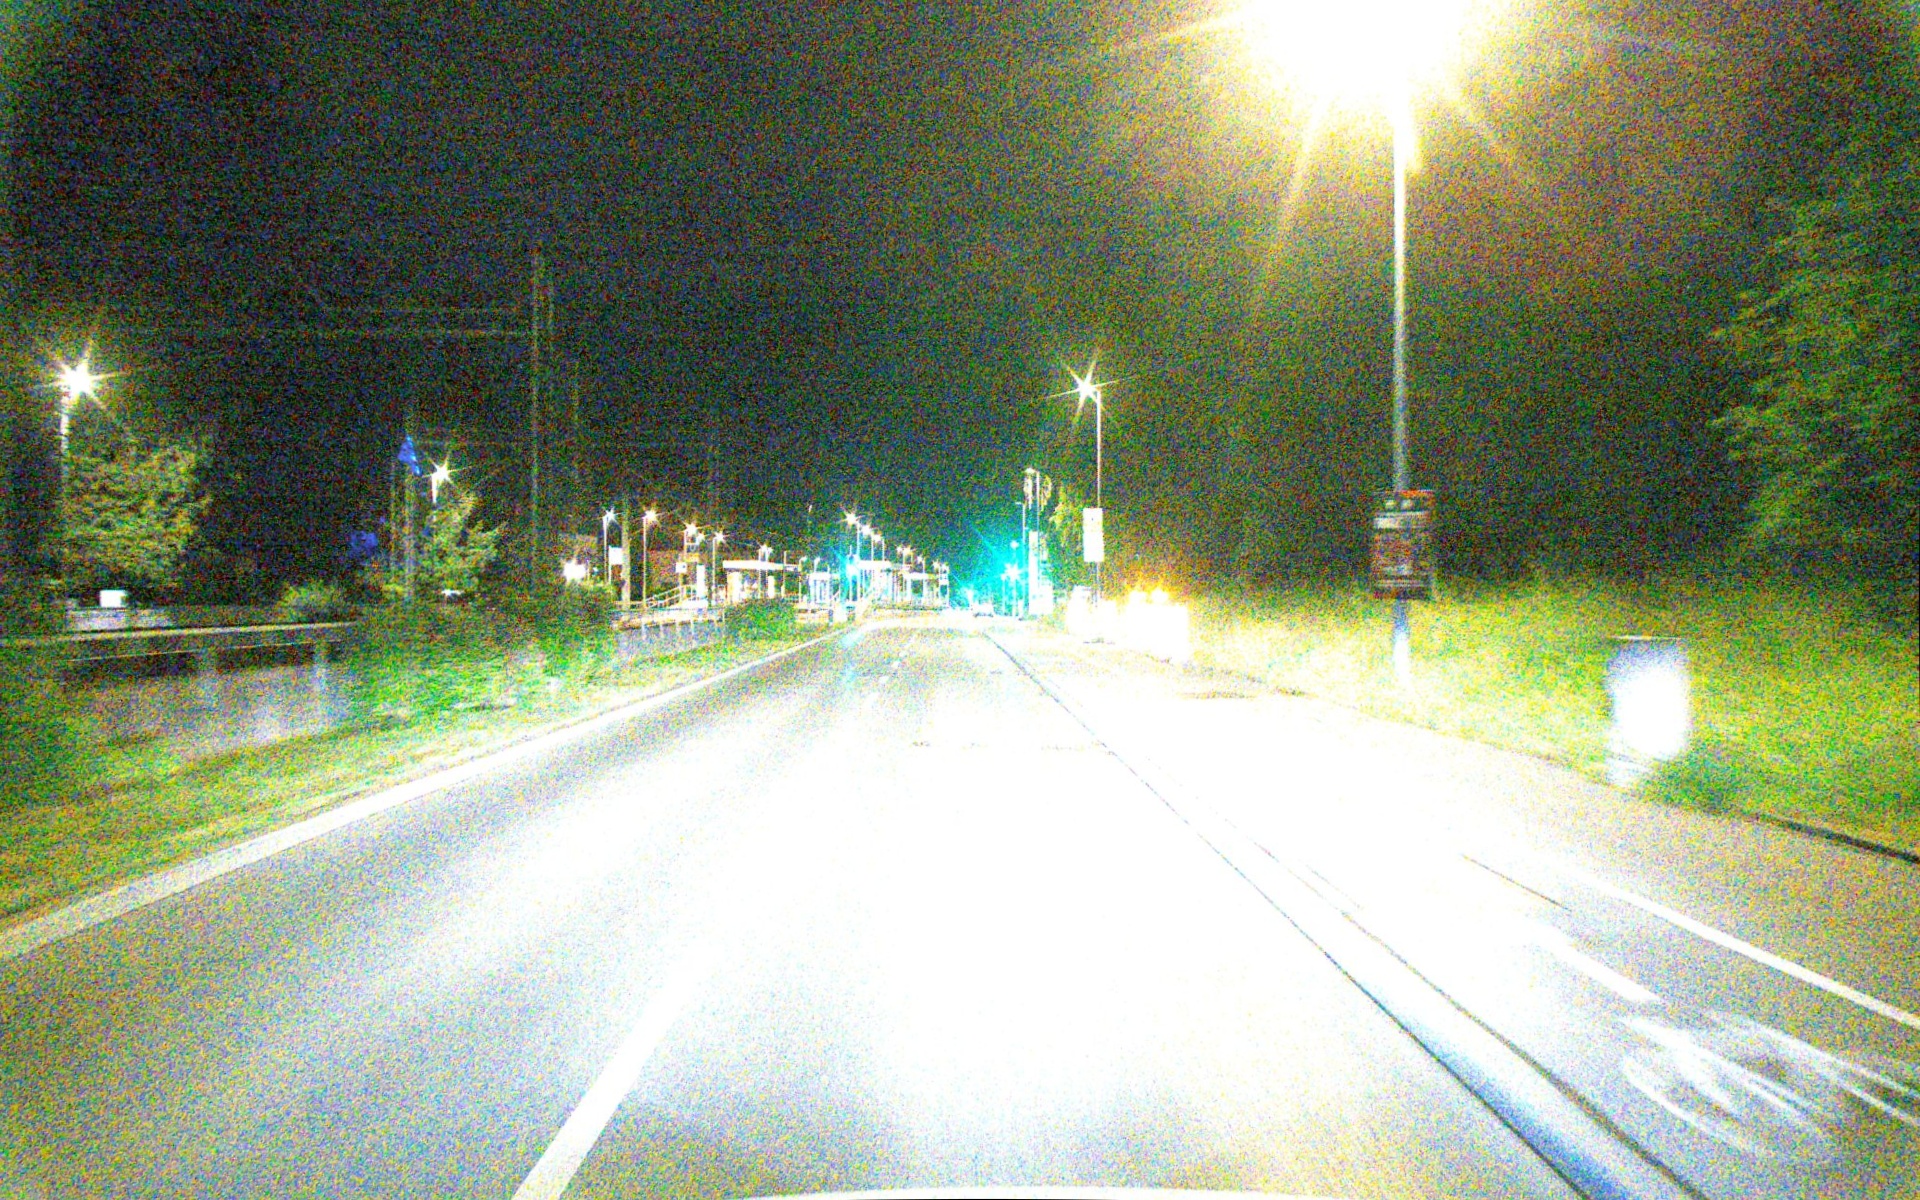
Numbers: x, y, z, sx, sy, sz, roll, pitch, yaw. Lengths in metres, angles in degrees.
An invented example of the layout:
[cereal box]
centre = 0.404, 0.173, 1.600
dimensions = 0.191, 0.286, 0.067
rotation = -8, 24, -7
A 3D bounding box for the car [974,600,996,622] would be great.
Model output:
[car]
centre = 2.359, 1.024, 156.117
dimensions = 2.044, 2.049, 4.000
rotation = 0, 0, 0
